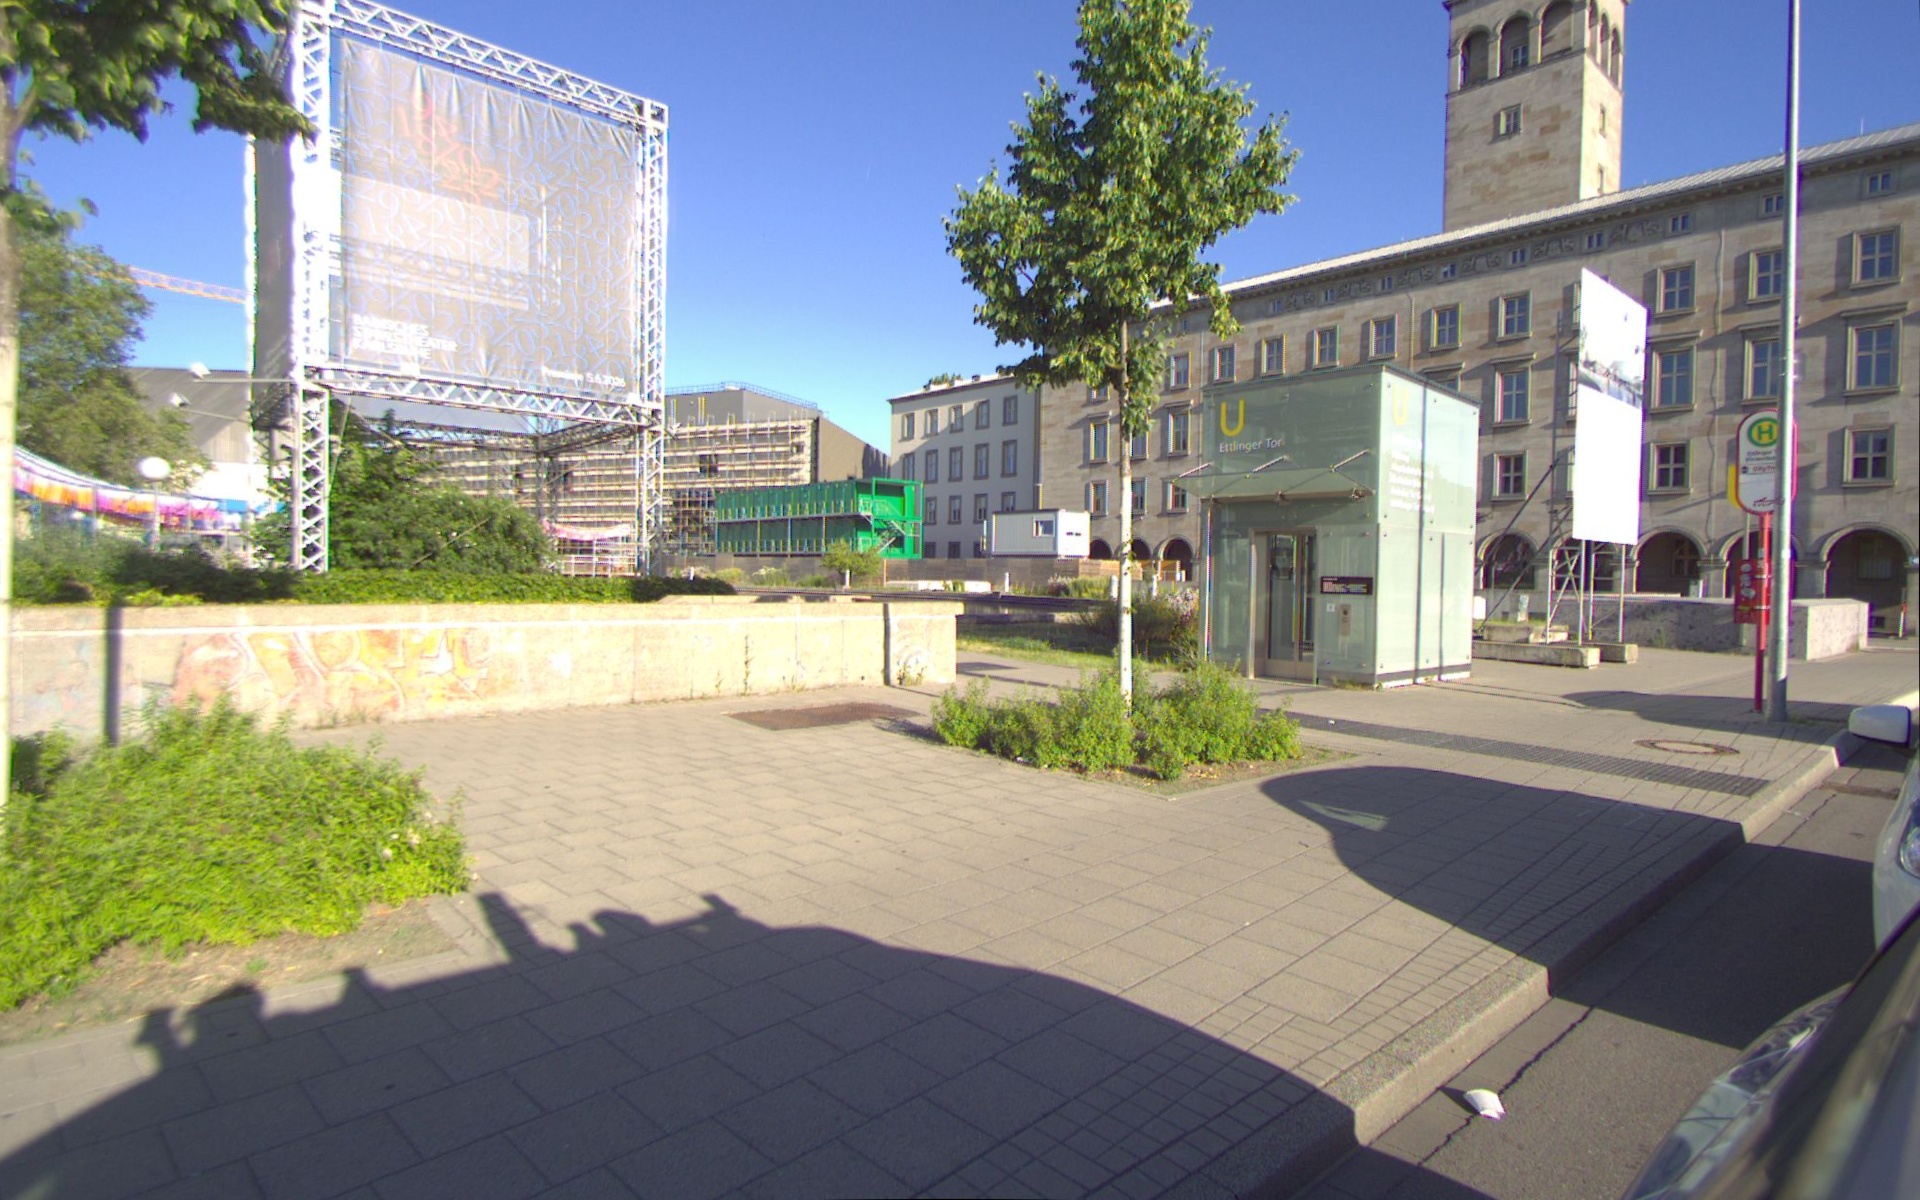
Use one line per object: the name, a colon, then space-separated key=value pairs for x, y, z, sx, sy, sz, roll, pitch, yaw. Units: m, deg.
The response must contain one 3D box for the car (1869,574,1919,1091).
car: x=4.649 y=0.678 z=3.667 sx=3.930 sy=1.473 sz=1.518 roll=0 pitch=2 yaw=-41
